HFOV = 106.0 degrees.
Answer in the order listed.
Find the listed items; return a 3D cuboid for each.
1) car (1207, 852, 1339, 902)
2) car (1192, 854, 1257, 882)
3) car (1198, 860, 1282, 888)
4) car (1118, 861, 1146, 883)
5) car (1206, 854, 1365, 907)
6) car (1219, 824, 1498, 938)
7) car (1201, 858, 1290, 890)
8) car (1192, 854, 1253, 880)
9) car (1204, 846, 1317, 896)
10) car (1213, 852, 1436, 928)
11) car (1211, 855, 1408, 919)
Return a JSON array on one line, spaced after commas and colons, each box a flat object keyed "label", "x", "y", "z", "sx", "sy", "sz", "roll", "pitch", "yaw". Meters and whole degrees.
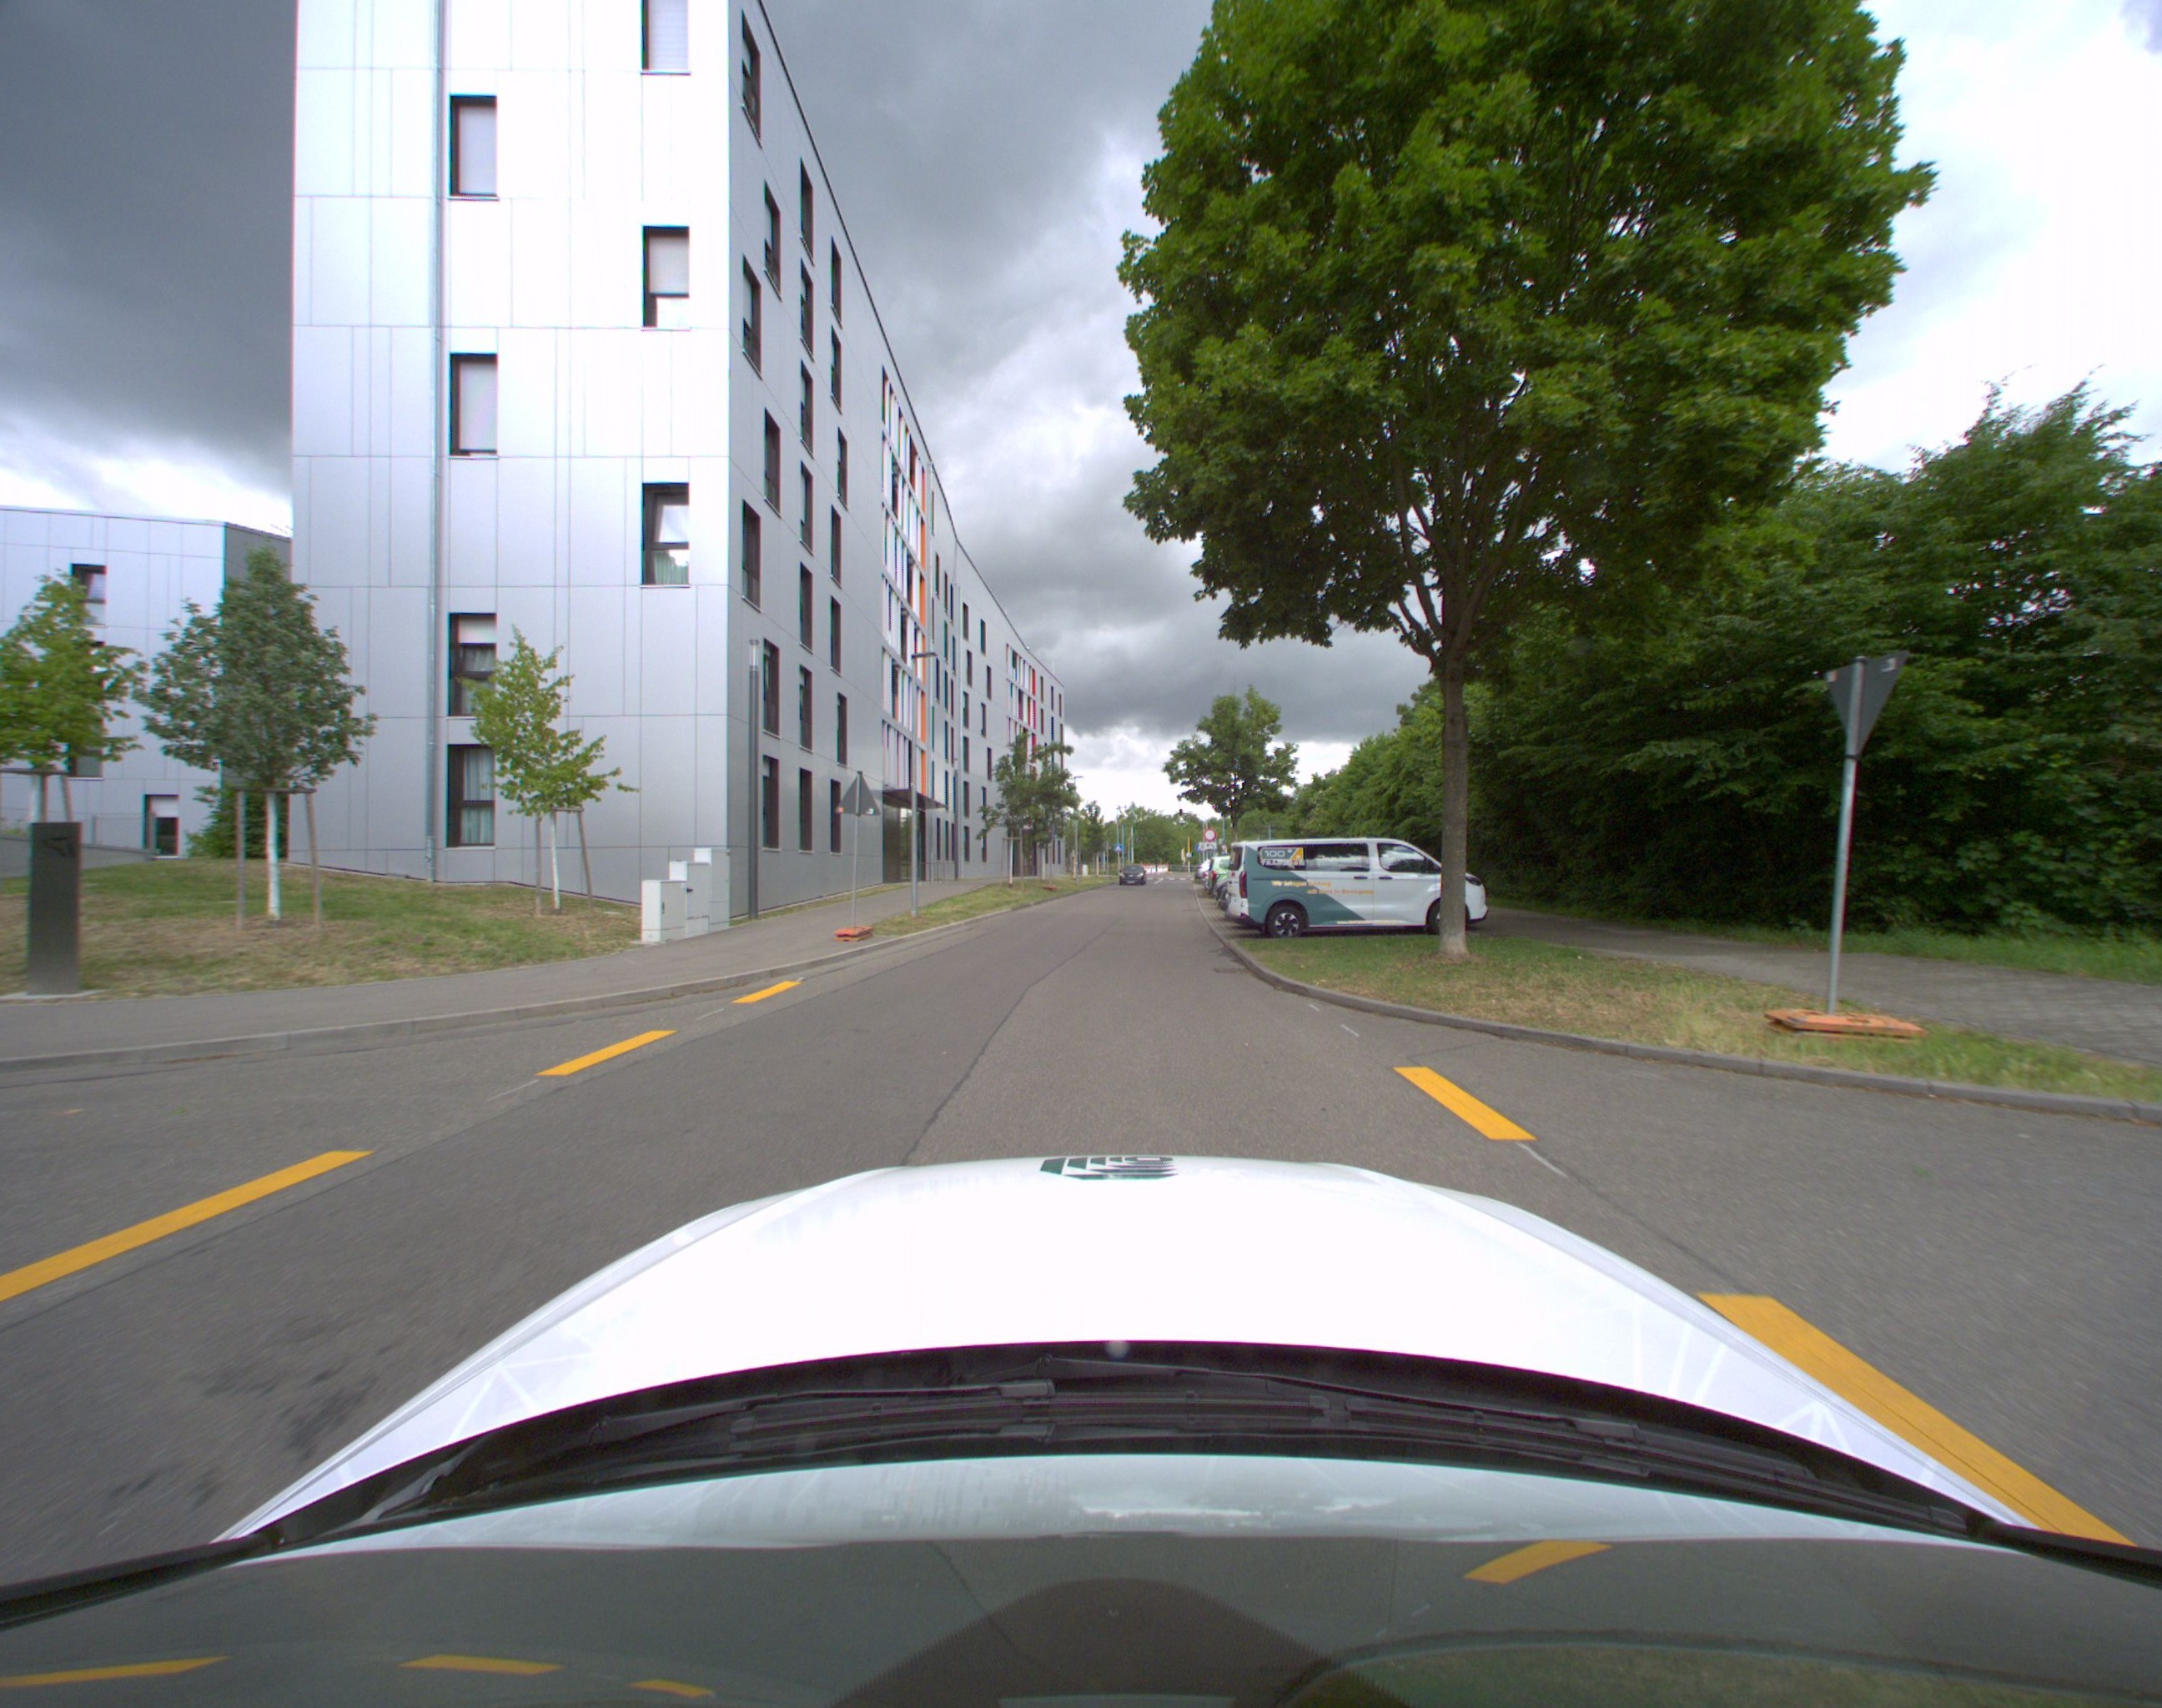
[{"label": "car", "x": 6.832, "y": 0.795, "z": 29.301, "sx": 4.357, "sy": 1.577, "sz": 1.919, "roll": -2, "pitch": -1, "yaw": 5}, {"label": "car", "x": 10.014, "y": 0.968, "z": 56.993, "sx": 4.357, "sy": 1.903, "sz": 1.919, "roll": 0, "pitch": 0, "yaw": 5}, {"label": "car", "x": 8.679, "y": 1.085, "z": 44.792, "sx": 4.357, "sy": 1.475, "sz": 1.919, "roll": 0, "pitch": 0, "yaw": 5}, {"label": "car", "x": 3.515, "y": 1.194, "z": 55.612, "sx": 1.600, "sy": 1.388, "sz": 4.009, "roll": 1, "pitch": 0, "yaw": 8}, {"label": "car", "x": 6.623, "y": 0.832, "z": 26.761, "sx": 4.707, "sy": 1.499, "sz": 2.113, "roll": -2, "pitch": -1, "yaw": 2}, {"label": "car", "x": 5.423, "y": 0.516, "z": 16.411, "sx": 4.954, "sy": 1.972, "sz": 1.847, "roll": -2, "pitch": -1, "yaw": 1}, {"label": "car", "x": 8.427, "y": 1.011, "z": 42.010, "sx": 4.357, "sy": 1.574, "sz": 1.919, "roll": 0, "pitch": -1, "yaw": 5}, {"label": "car", "x": 10.617, "y": 0.987, "z": 61.367, "sx": 4.357, "sy": 1.903, "sz": 1.919, "roll": 0, "pitch": 0, "yaw": 5}, {"label": "car", "x": 7.434, "y": 0.699, "z": 34.143, "sx": 4.357, "sy": 1.904, "sz": 1.919, "roll": -2, "pitch": -1, "yaw": 5}, {"label": "car", "x": 5.516, "y": 0.806, "z": 18.965, "sx": 4.681, "sy": 1.516, "sz": 1.849, "roll": -2, "pitch": -1, "yaw": 5}, {"label": "car", "x": 5.873, "y": 0.850, "z": 21.458, "sx": 4.699, "sy": 1.434, "sz": 2.060, "roll": -2, "pitch": -1, "yaw": 6}]
